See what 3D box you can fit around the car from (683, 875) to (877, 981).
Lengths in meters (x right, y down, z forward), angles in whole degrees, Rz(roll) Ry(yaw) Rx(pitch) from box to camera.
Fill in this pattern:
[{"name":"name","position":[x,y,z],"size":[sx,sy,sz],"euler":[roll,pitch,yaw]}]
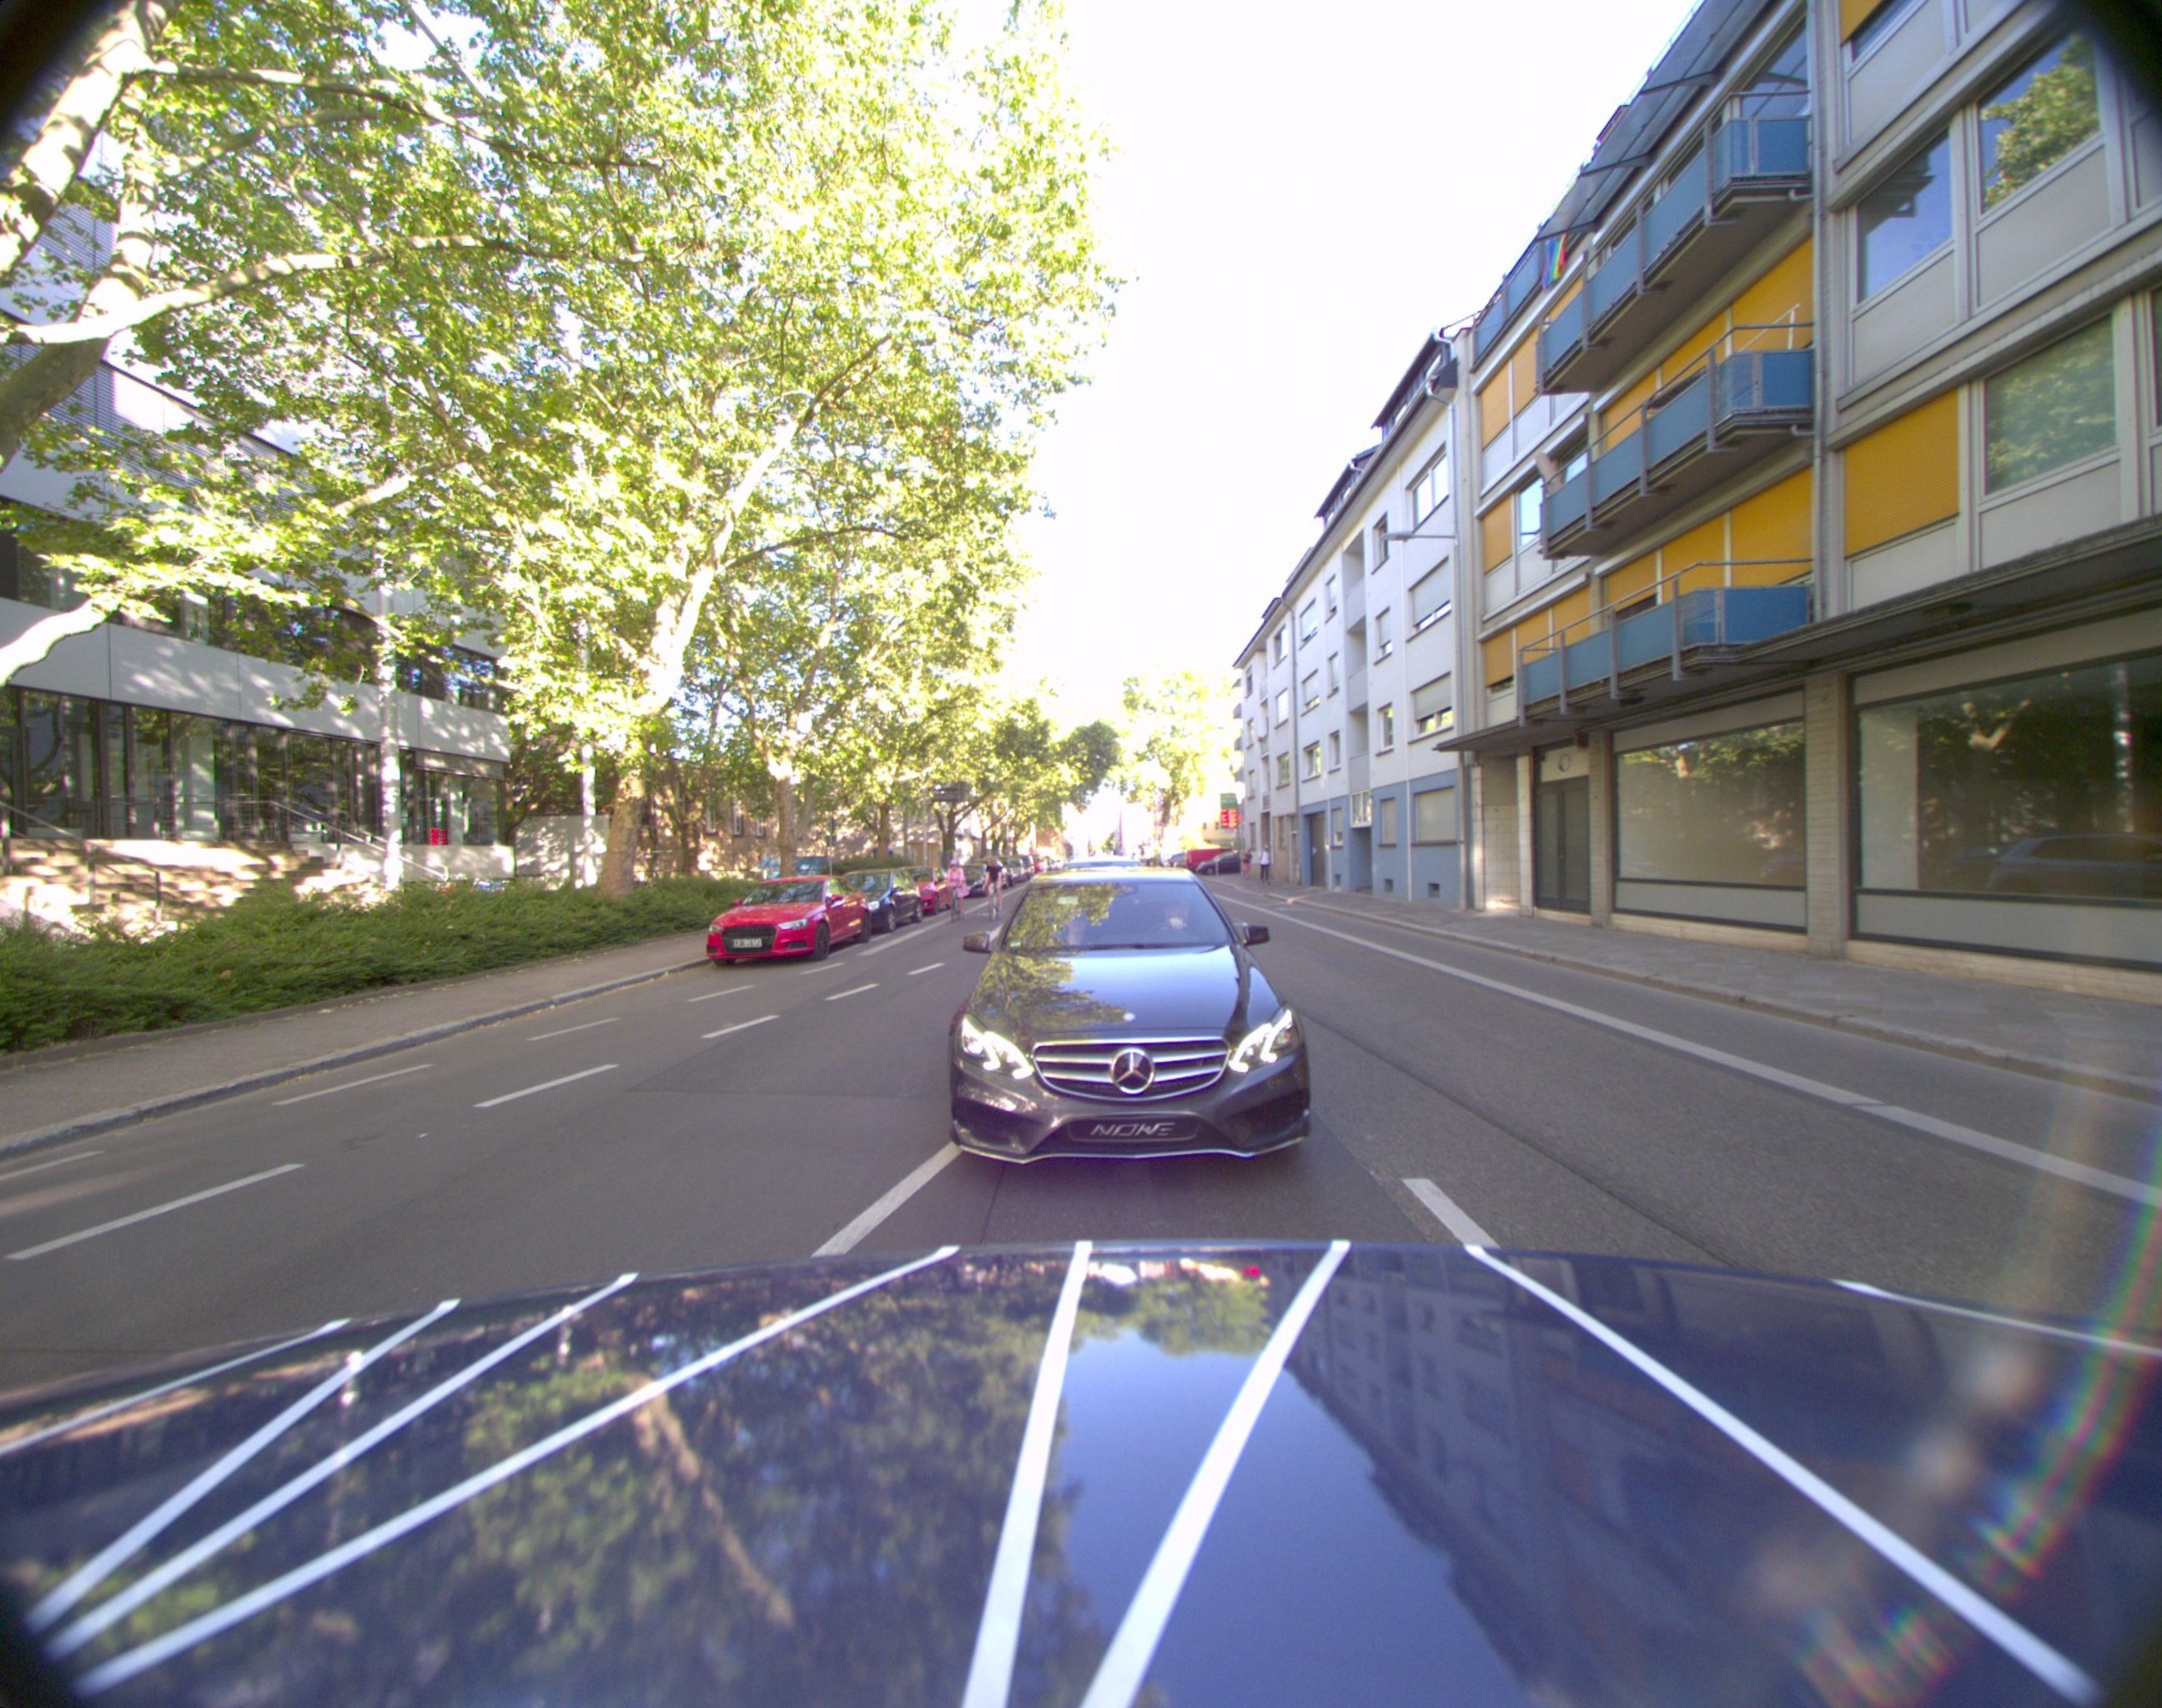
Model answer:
[{"name":"car","position":[-5.124,1.185,13.590],"size":[1.755,1.400,4.000],"euler":[-3,0,1]}]

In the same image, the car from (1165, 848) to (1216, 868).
[{"name":"car","position":[11.289,0.373,78.712],"size":[4.991,1.926,2.083],"euler":[-2,0,1]}]

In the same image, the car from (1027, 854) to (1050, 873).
[{"name":"car","position":[-4.000,0.907,72.168],"size":[1.755,1.652,4.447],"euler":[-3,0,1]}]

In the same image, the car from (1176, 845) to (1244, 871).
[{"name":"car","position":[10.638,0.294,63.098],"size":[5.223,1.969,2.257],"euler":[-2,0,1]}]

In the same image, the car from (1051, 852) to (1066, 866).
[{"name":"car","position":[-3.012,0.653,103.196],"size":[1.755,1.652,4.447],"euler":[-3,0,1]}]

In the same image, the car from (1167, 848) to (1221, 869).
[{"name":"car","position":[11.274,0.404,76.214],"size":[5.054,1.926,2.161],"euler":[-2,0,1]}]

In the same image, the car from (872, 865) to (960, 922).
[{"name":"car","position":[-5.033,1.150,23.648],"size":[1.755,1.459,3.909],"euler":[-3,0,1]}]

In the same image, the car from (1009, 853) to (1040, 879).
[{"name":"car","position":[-4.100,0.825,55.749],"size":[1.755,1.753,4.447],"euler":[-3,0,1]}]

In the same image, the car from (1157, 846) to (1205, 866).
[{"name":"car","position":[11.192,0.201,85.513],"size":[5.143,2.135,2.187],"euler":[-2,0,1]}]

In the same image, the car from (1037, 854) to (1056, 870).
[{"name":"car","position":[-3.774,0.873,83.508],"size":[1.755,1.652,4.447],"euler":[-3,0,1]}]

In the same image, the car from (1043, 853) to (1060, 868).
[{"name":"car","position":[-3.645,0.776,92.997],"size":[1.755,1.652,4.447],"euler":[-3,0,1]}]

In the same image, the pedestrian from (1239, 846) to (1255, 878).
[{"name":"pedestrian","position":[8.771,0.413,40.119],"size":[0.604,1.632,0.842],"euler":[-2,1,1]}]

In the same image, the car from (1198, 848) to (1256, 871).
[{"name":"car","position":[10.914,0.391,56.984],"size":[3.997,1.552,1.743],"euler":[-2,0,1]}]

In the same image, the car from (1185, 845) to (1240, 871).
[{"name":"car","position":[10.333,0.300,60.073],"size":[3.997,1.926,1.867],"euler":[-2,0,1]}]

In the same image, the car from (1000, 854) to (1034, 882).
[{"name":"car","position":[-4.271,0.883,50.938],"size":[1.755,1.718,4.447],"euler":[-3,0,1]}]

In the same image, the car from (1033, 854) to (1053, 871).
[{"name":"car","position":[-3.848,0.842,77.440],"size":[1.755,1.652,4.447],"euler":[-3,0,1]}]

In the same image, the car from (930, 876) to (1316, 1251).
[{"name":"car","position":[0.212,0.985,5.350],"size":[1.667,1.499,4.000],"euler":[-1,0,1]}]

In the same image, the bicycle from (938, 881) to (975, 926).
[{"name":"bicycle","position":[-3.244,1.269,19.943],"size":[0.650,1.053,1.595],"euler":[-2,0,1]}]

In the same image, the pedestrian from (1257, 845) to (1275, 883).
[{"name":"pedestrian","position":[8.616,0.462,35.403],"size":[0.608,1.737,0.756],"euler":[-2,1,1]}]

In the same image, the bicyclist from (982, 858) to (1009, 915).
[{"name":"bicyclist","position":[-2.220,0.838,19.862],"size":[0.581,1.424,0.741],"euler":[-2,1,1]}]

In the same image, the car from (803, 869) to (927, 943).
[{"name":"car","position":[-5.084,1.176,18.436],"size":[1.755,1.424,3.909],"euler":[-3,0,1]}]

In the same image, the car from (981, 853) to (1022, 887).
[{"name":"car","position":[-4.552,0.874,44.055],"size":[1.755,1.810,4.447],"euler":[-3,0,1]}]

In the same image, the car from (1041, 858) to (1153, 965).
[{"name":"car","position":[0.271,0.888,13.602],"size":[1.667,1.563,4.000],"euler":[-1,0,1]}]

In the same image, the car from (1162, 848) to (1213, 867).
[{"name":"car","position":[11.325,0.347,81.177],"size":[5.042,1.926,2.315],"euler":[-2,0,1]}]

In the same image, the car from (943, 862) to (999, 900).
[{"name":"car","position":[-4.749,1.121,33.286],"size":[1.755,1.424,3.909],"euler":[-3,0,1]}]

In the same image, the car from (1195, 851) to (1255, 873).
[{"name":"car","position":[10.358,0.562,54.774],"size":[3.997,1.412,1.743],"euler":[-2,0,1]}]

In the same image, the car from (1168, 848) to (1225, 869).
[{"name":"car","position":[11.102,0.443,73.514],"size":[5.143,1.926,2.187],"euler":[-2,0,1]}]

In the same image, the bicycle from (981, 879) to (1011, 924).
[{"name":"bicycle","position":[-2.212,1.229,19.899],"size":[0.574,1.053,1.595],"euler":[-2,0,1]}]

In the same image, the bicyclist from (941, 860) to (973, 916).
[{"name":"bicyclist","position":[-3.248,0.875,19.970],"size":[0.650,1.427,0.741],"euler":[-2,1,1]}]

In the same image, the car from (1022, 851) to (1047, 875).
[{"name":"car","position":[-3.995,0.732,66.382],"size":[1.755,1.941,4.447],"euler":[-3,0,1]}]

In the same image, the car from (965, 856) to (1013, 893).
[{"name":"car","position":[-4.562,0.979,38.256],"size":[1.755,1.644,4.174],"euler":[-3,0,1]}]
